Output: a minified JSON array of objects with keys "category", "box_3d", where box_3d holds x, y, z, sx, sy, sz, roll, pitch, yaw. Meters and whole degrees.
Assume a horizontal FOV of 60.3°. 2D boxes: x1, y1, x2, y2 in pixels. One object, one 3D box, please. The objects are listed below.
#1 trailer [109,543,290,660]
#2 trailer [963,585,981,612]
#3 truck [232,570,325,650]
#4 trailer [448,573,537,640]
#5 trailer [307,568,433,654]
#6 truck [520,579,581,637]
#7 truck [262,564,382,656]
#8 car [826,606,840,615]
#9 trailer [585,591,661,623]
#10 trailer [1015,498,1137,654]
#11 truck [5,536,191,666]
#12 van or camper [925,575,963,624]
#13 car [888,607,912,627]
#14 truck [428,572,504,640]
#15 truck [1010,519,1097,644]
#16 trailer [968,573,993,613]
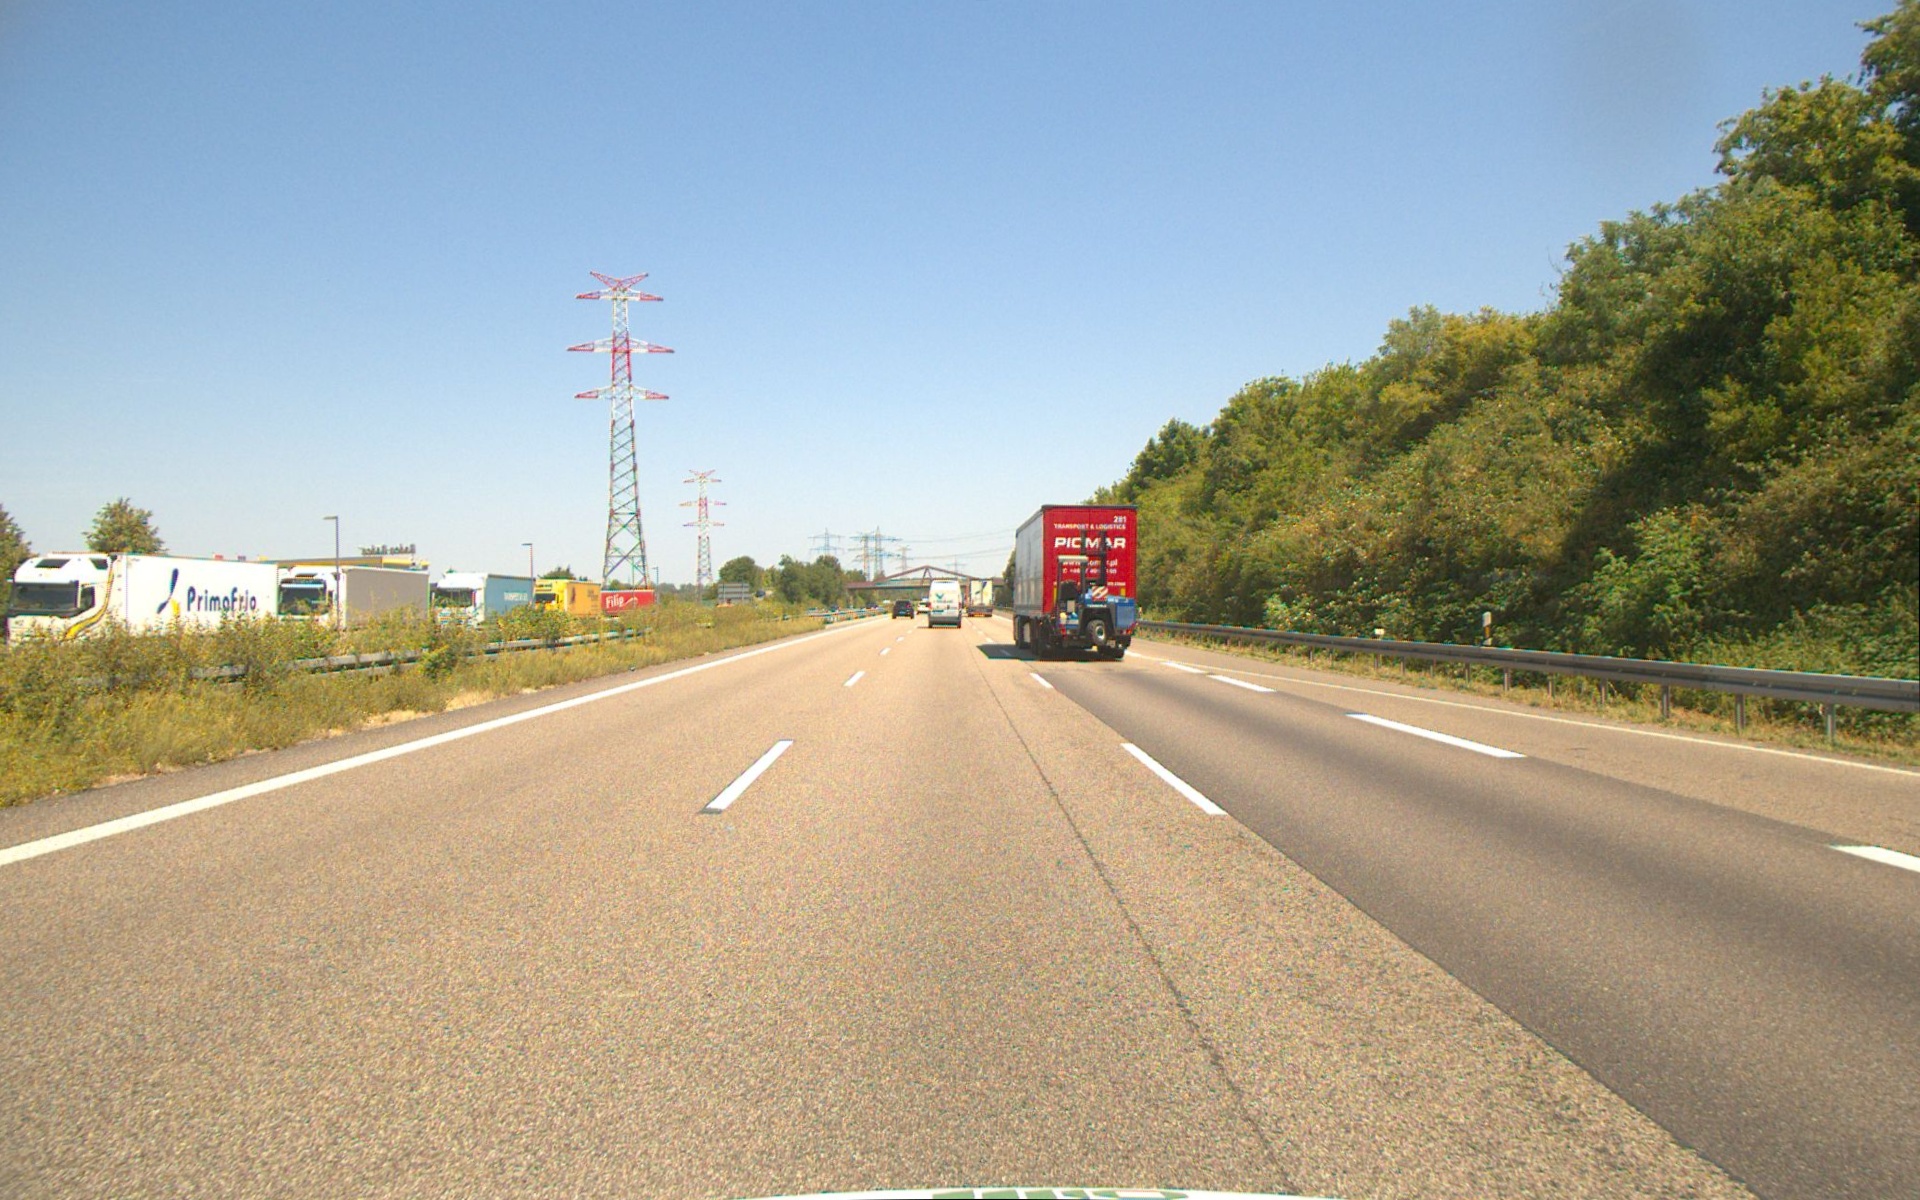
[{"category":"trailer","box_3d":[-30.486,0.076,66.936,2.546,4.292,10.512,1,0,-1]},{"category":"trailer","box_3d":[1.766,-0.170,246.871,2.583,3.965,7.068,1,0,0]},{"category":"truck","box_3d":[-36.460,0.520,88.680,2.641,4.076,5.743,1,0,-1]},{"category":"trailer","box_3d":[-31.541,0.426,112.133,2.776,4.221,12.080,1,0,-2]},{"category":"trailer","box_3d":[-31.242,0.551,88.157,3.050,4.231,11.011,1,0,-2]},{"category":"truck","box_3d":[-31.378,0.623,127.139,2.776,4.274,7.916,1,0,-1]},{"category":"truck","box_3d":[-30.987,0.479,80.683,3.054,4.231,7.501,1,0,-2]},{"category":"car","box_3d":[-18.840,1.564,246.015,1.706,1.298,4.317,-3,0,0]},{"category":"trailer","box_3d":[-45.401,0.940,223.195,3.066,4.126,11.280,1,0,33]},{"category":"trailer","box_3d":[3.192,-0.596,49.361,2.440,3.978,14.242,0,0,-1]},{"category":"truck","box_3d":[-30.327,0.044,58.624,2.529,4.262,7.934,0,0,-1]},{"category":"van or camper","box_3d":[-0.957,-0.029,100.446,2.185,2.831,5.422,1,0,0]},{"category":"car","box_3d":[-5.490,1.543,152.137,1.941,1.849,3.813,1,0,1]},{"category":"truck","box_3d":[-31.359,0.368,105.360,2.792,4.144,7.087,1,0,-2]},{"category":"truck","box_3d":[3.092,-0.568,56.250,2.448,3.988,7.095,0,0,-1]},{"category":"trailer","box_3d":[2.240,-0.717,181.953,2.583,4.131,12.366,1,0,0]}]
